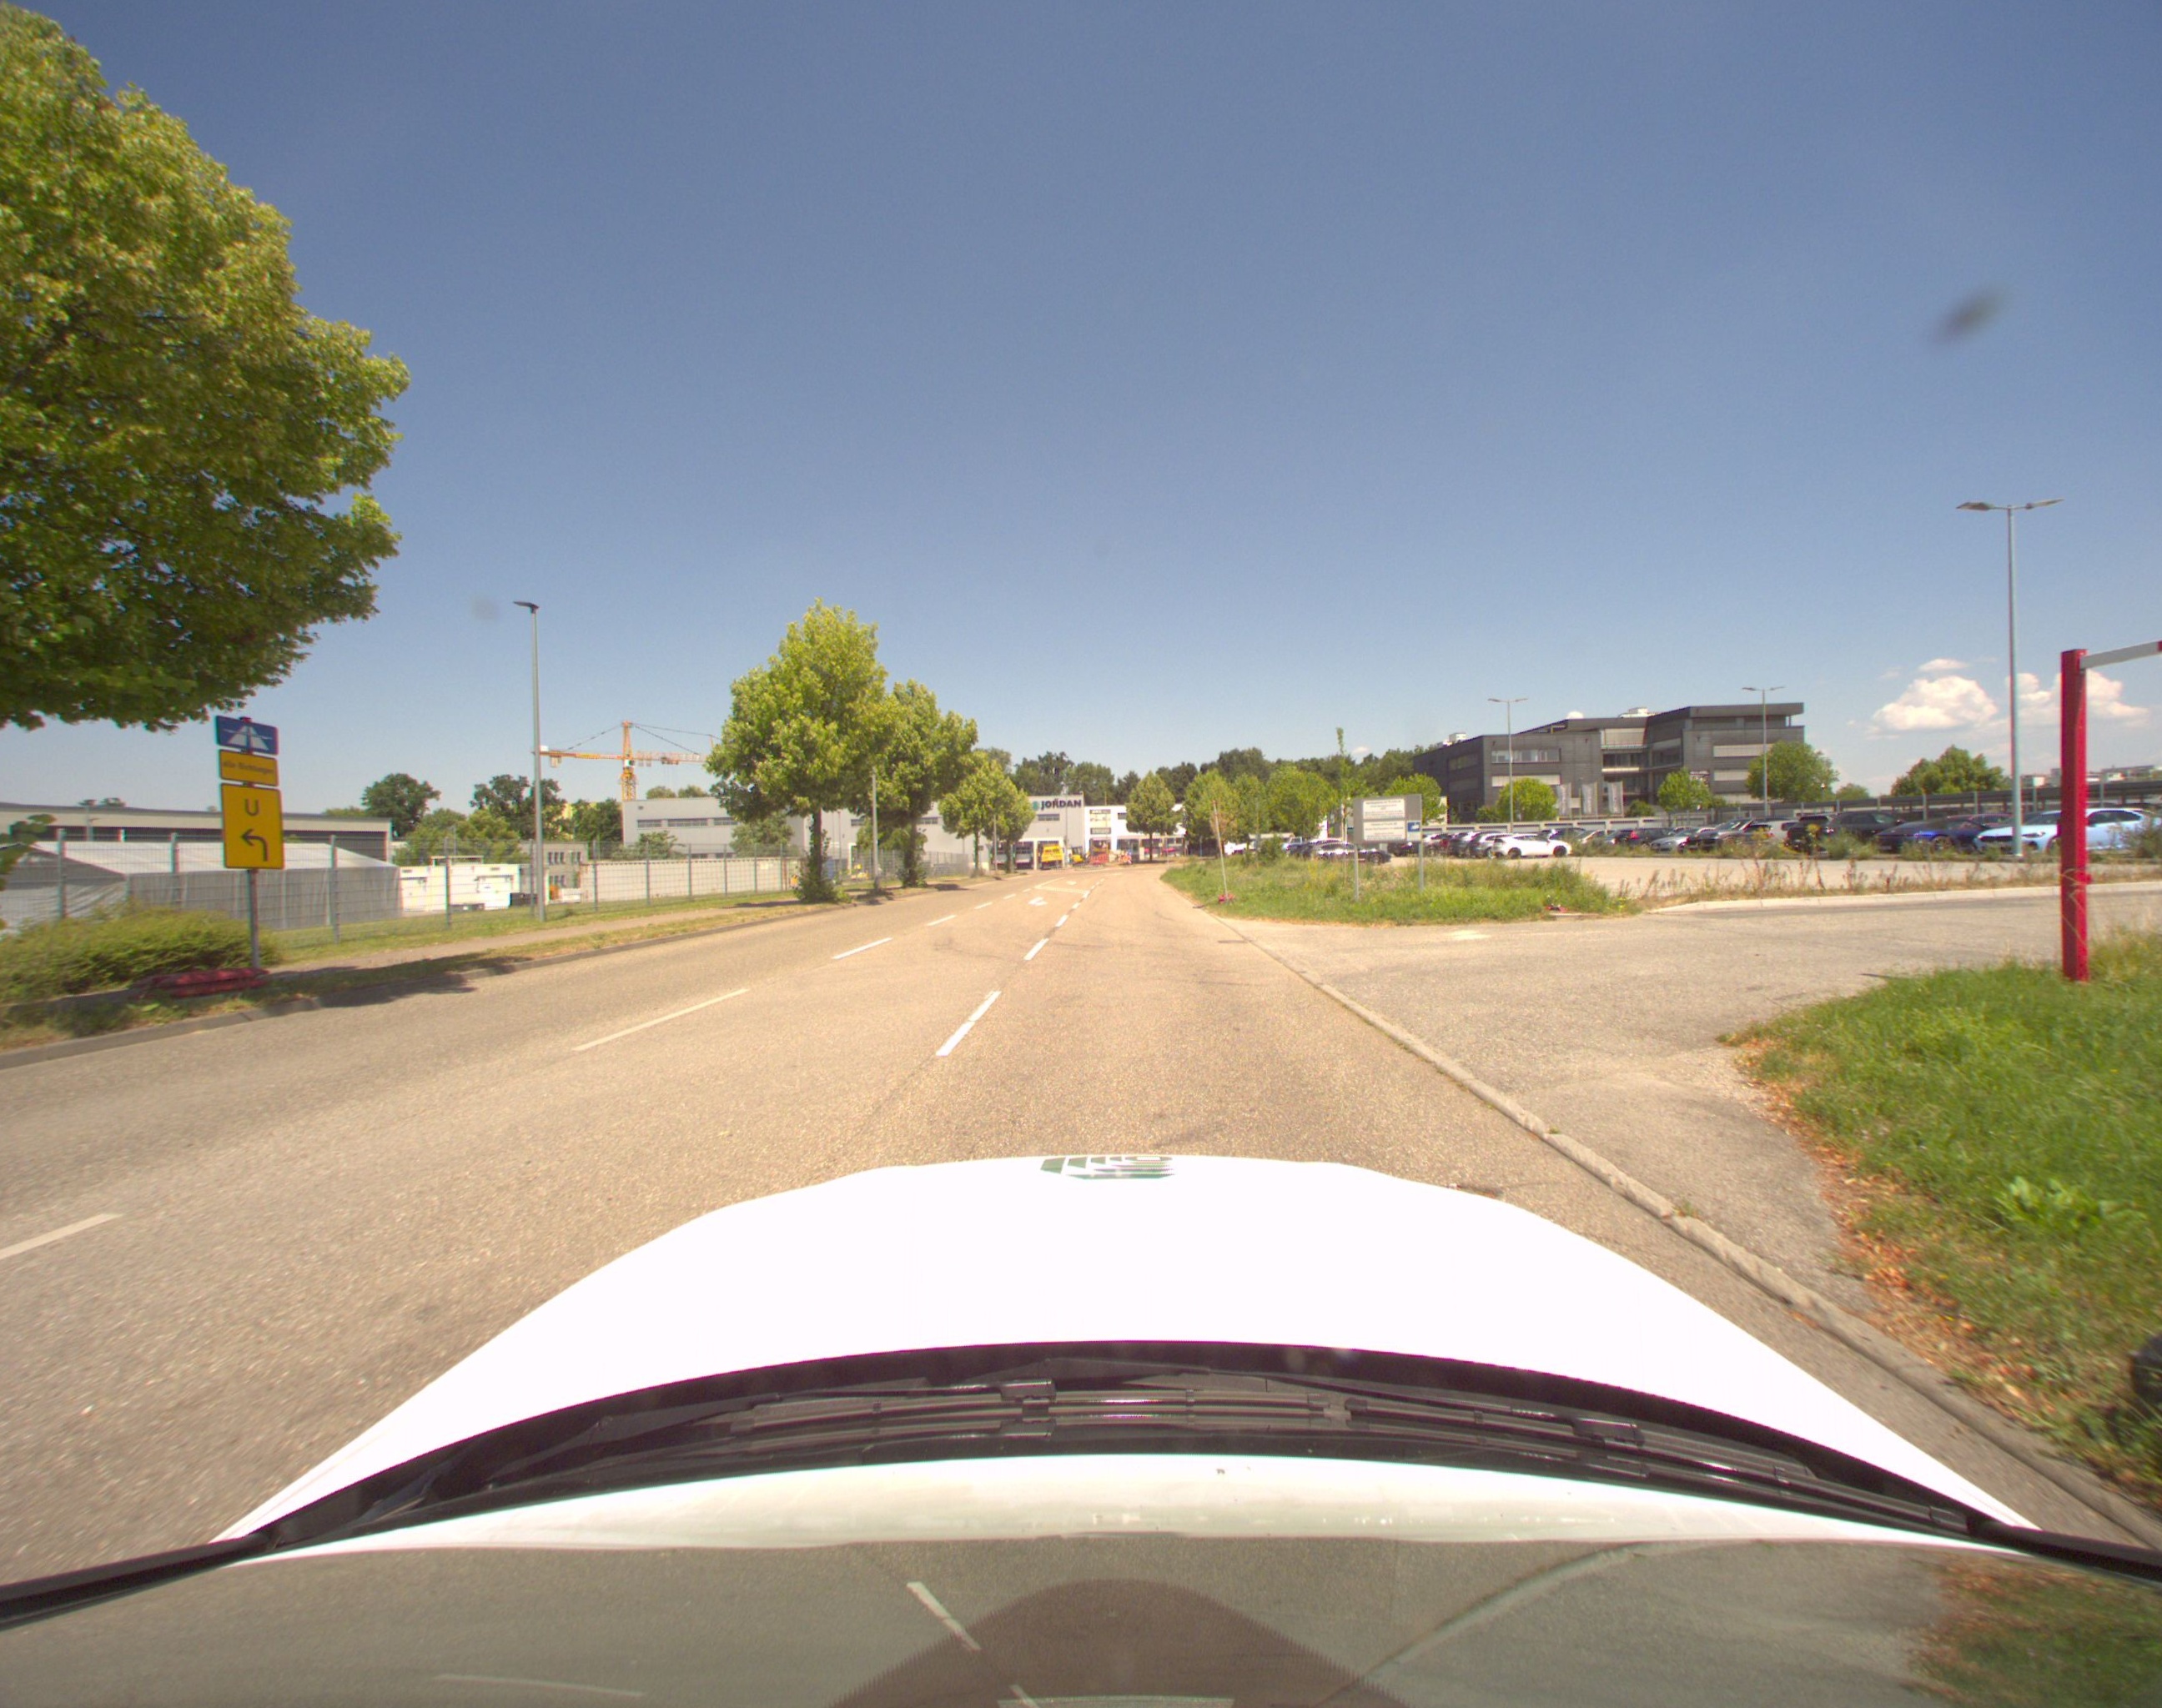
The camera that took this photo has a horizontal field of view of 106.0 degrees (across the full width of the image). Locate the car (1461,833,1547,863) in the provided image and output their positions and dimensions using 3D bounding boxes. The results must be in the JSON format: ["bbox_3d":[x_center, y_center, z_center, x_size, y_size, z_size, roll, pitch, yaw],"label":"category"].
[{"bbox_3d":[24.224,-0.380,46.729,3.975,1.400,1.768,-3,3,-1],"label":"car"}]

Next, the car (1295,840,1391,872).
[{"bbox_3d":[14.246,0.098,44.470,4.682,1.400,1.924,-3,3,4],"label":"car"}]

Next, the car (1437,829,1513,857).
[{"bbox_3d":[25.110,-0.732,52.018,3.975,1.461,1.768,-3,3,-1],"label":"car"}]

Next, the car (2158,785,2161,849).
[{"bbox_3d":[29.249,-1.009,19.628,4.353,1.595,1.768,-3,3,-1],"label":"car"}]

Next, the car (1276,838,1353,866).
[{"bbox_3d":[14.374,-0.123,50.249,4.151,1.400,1.768,-3,3,-1],"label":"car"}]

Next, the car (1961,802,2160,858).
[{"bbox_3d":[29.274,-0.732,24.424,3.975,1.392,1.768,-3,3,-1],"label":"car"}]

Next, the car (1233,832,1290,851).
[{"bbox_3d":[23.787,-1.652,107.739,7.137,2.088,2.003,-3,-1,5],"label":"car"}]

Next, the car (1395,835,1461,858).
[{"bbox_3d":[25.136,-0.565,59.033,3.975,1.400,1.768,-3,3,-1],"label":"car"}]

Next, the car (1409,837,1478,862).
[{"bbox_3d":[25.094,-0.343,56.498,3.975,1.400,1.768,-3,3,-1],"label":"car"}]

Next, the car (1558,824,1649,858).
[{"bbox_3d":[29.273,-0.739,45.659,3.975,1.595,1.768,-3,3,-1],"label":"car"}]

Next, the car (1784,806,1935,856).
[{"bbox_3d":[29.248,-0.885,30.666,3.975,1.595,1.861,-3,3,-1],"label":"car"}]

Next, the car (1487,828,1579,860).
[{"bbox_3d":[24.394,-0.547,44.035,3.974,1.400,1.769,-3,3,0],"label":"car"}]

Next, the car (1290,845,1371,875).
[{"bbox_3d":[14.505,0.351,47.499,4.151,1.400,1.768,-3,3,-1],"label":"car"}]

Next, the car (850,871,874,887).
[{"bbox_3d":[-26.461,3.023,98.520,1.990,1.551,3.995,-4,3,-4],"label":"car"}]

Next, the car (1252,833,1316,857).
[{"bbox_3d":[14.517,-0.664,58.379,4.151,1.400,1.768,-3,3,-1],"label":"car"}]

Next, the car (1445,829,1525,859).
[{"bbox_3d":[24.456,-0.615,49.385,3.975,1.490,1.768,-3,3,-1],"label":"car"}]

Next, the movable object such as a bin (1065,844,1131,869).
[{"bbox_3d":[2.177,0.268,100.231,7.479,2.499,3.678,-3,3,10],"label":"movable object such as a bin"}]

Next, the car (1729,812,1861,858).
[{"bbox_3d":[29.492,-0.807,33.714,3.975,1.595,1.768,-3,3,-1],"label":"car"}]

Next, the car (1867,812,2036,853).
[{"bbox_3d":[29.613,-0.758,27.780,3.975,1.108,1.768,-3,3,-1],"label":"car"}]

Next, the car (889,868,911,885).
[{"bbox_3d":[-22.003,2.727,99.217,1.990,1.551,3.995,-4,3,-4],"label":"car"}]

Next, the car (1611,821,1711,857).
[{"bbox_3d":[30.230,-0.812,42.536,3.975,1.595,1.768,-3,3,-1],"label":"car"}]

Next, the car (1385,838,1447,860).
[{"bbox_3d":[25.509,-0.390,62.103,3.975,1.400,1.768,-3,3,-1],"label":"car"}]

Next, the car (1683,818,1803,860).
[{"bbox_3d":[29.533,-0.687,36.420,3.975,1.595,1.768,-3,3,-1],"label":"car"}]

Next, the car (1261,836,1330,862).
[{"bbox_3d":[14.341,-0.333,54.610,4.151,1.400,1.768,-3,3,-1],"label":"car"}]

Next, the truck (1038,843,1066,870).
[{"bbox_3d":[-3.601,0.226,99.984,2.935,2.885,5.799,-4,3,-6],"label":"truck"}]

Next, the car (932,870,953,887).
[{"bbox_3d":[-16.843,2.953,99.083,1.990,1.551,3.995,-4,3,-4],"label":"car"}]

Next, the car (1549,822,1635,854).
[{"bbox_3d":[30.302,-0.969,48.374,3.975,1.595,1.768,-3,3,-1],"label":"car"}]

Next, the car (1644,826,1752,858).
[{"bbox_3d":[29.933,-0.614,39.579,3.975,1.271,1.768,-3,3,-1],"label":"car"}]
